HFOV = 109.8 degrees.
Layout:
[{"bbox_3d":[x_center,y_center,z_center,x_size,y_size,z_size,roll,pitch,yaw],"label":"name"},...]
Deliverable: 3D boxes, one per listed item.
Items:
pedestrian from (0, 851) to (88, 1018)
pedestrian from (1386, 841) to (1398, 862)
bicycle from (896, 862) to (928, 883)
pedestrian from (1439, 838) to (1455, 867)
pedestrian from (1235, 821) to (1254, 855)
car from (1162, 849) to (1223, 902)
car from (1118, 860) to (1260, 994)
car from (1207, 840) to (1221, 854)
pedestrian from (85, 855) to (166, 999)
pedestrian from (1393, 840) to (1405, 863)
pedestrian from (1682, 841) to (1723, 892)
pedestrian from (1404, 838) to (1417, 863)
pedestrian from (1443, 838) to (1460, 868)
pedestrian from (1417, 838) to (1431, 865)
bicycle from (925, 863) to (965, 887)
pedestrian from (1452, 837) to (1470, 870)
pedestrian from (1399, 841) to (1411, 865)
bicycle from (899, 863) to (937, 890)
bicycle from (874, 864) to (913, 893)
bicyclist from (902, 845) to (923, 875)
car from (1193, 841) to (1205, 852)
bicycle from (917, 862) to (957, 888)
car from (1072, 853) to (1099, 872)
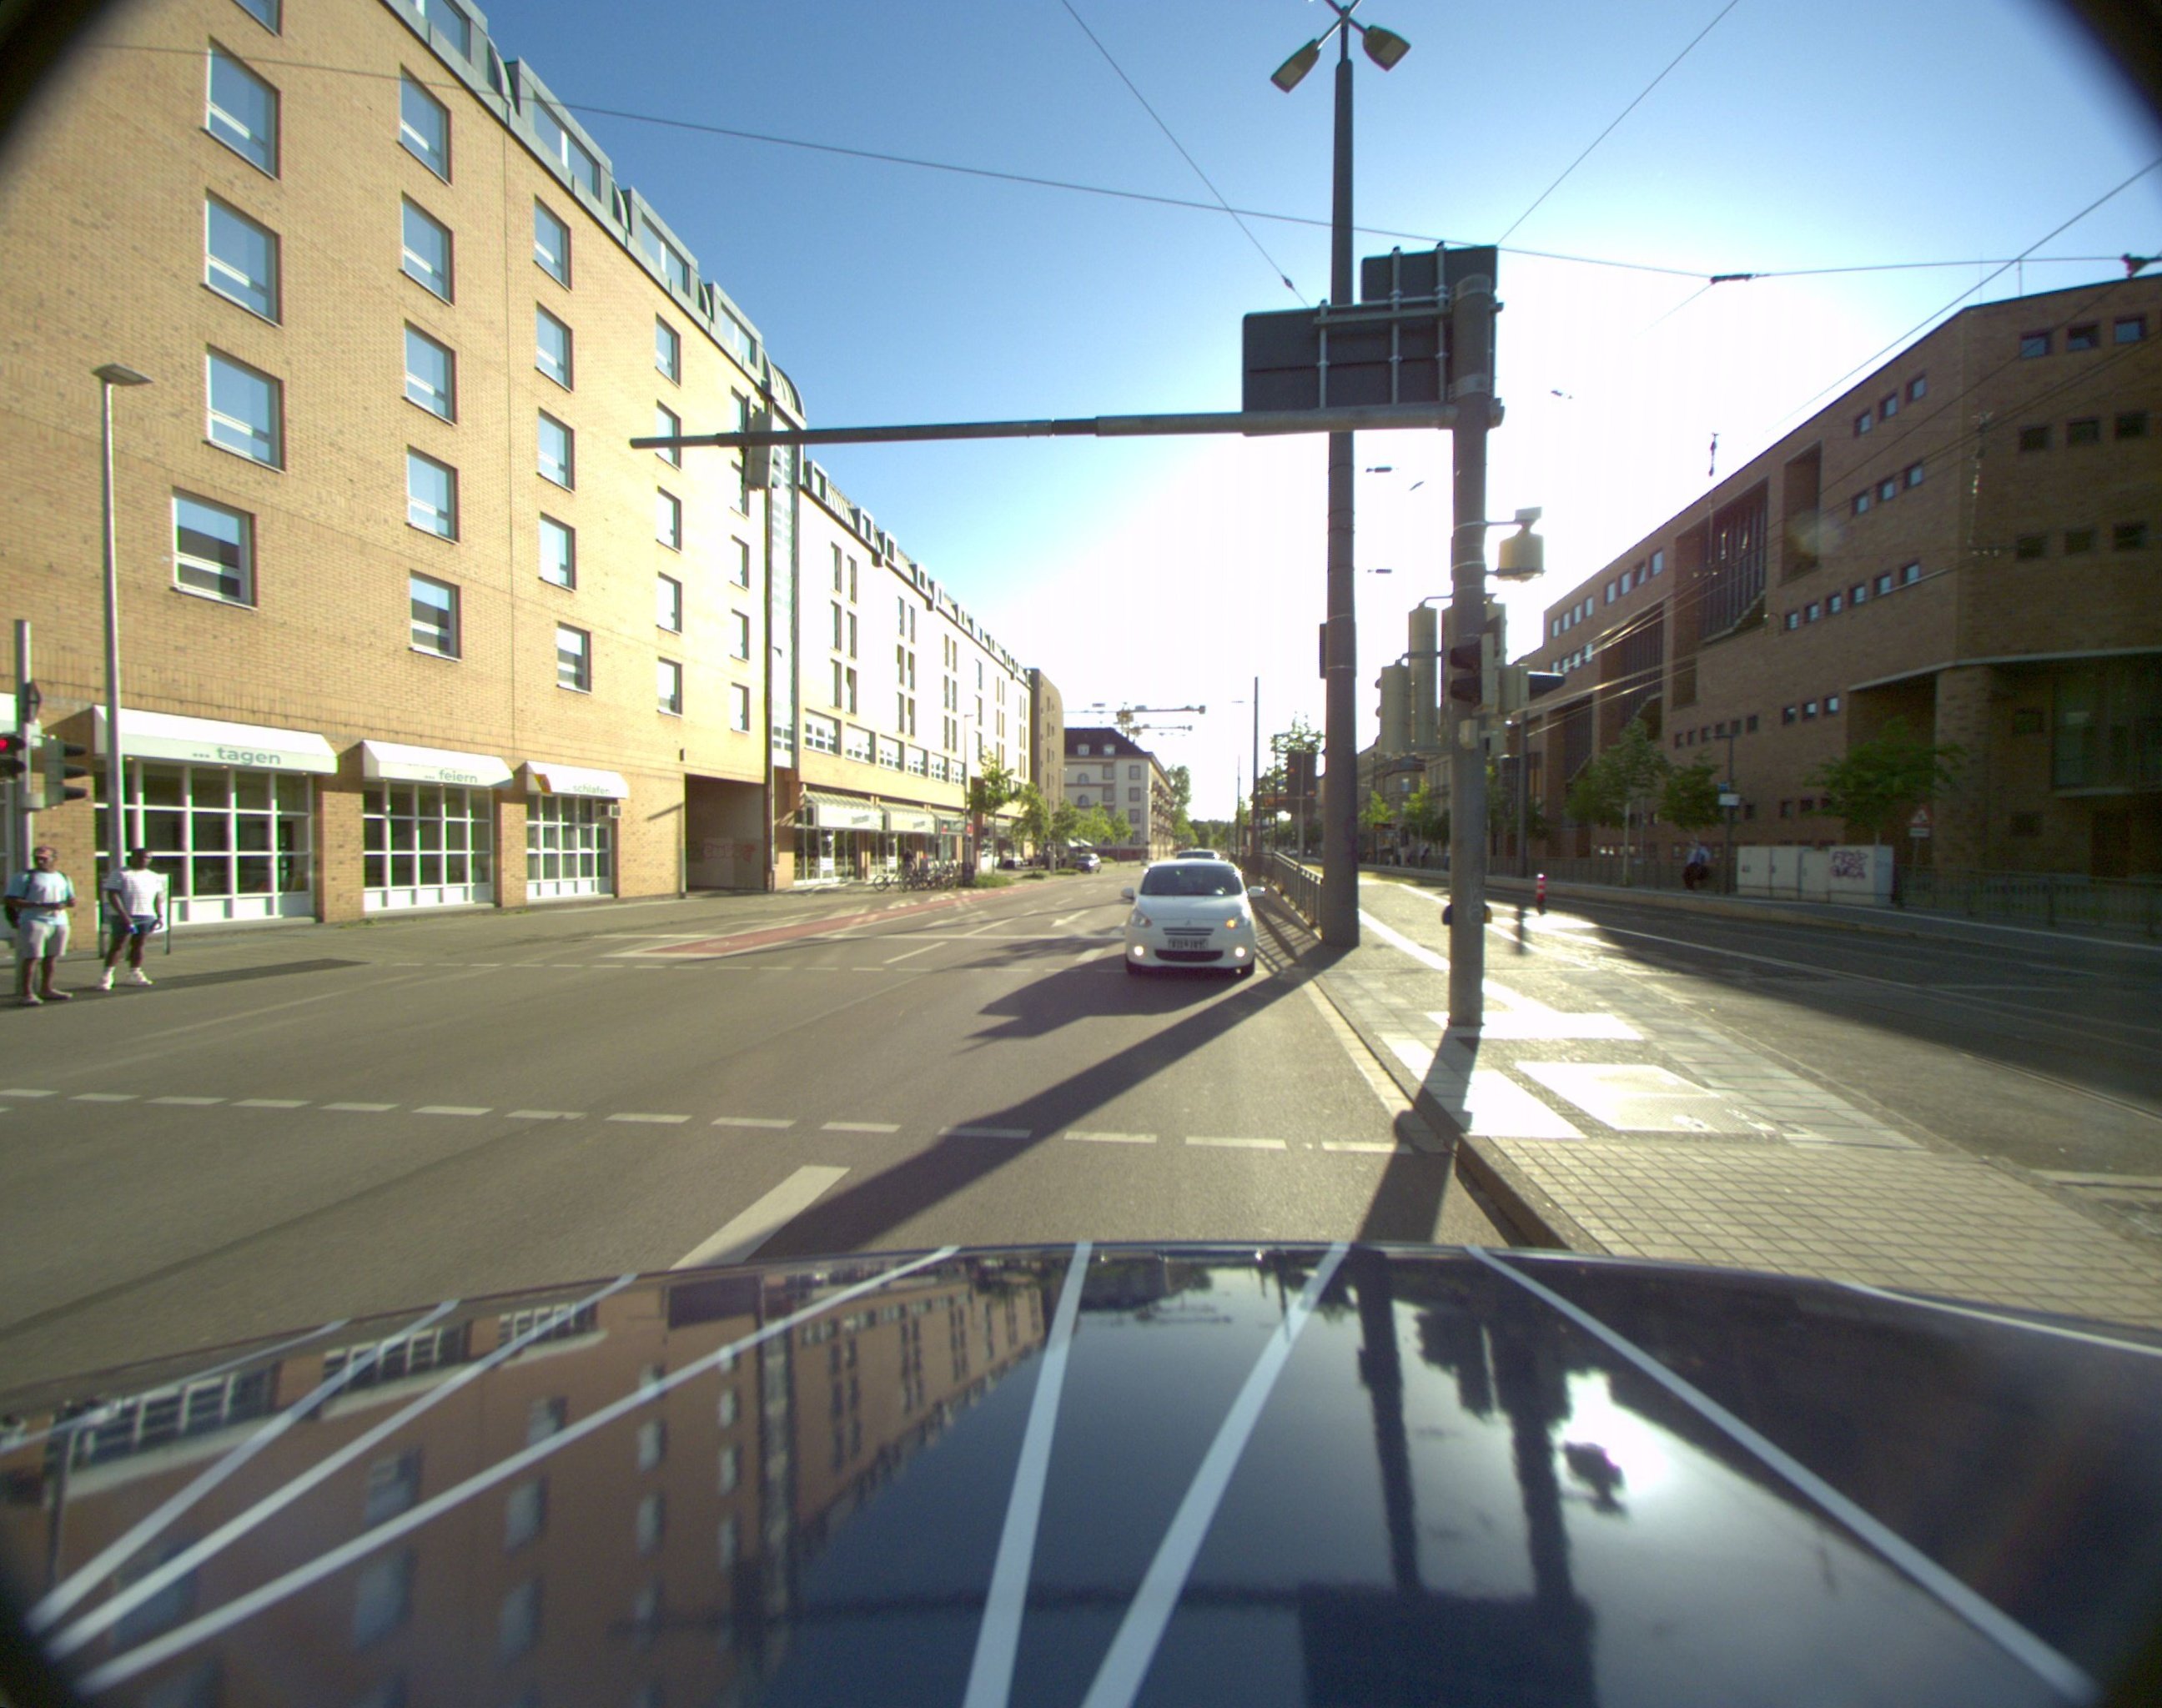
[{"bbox_3d":[-12.043,0.888,8.700,0.499,1.823,0.731,0,2,-25],"label":"pedestrian"},{"bbox_3d":[24.081,-0.188,58.851,0.692,1.566,0.587,0,1,7],"label":"pedestrian"},{"bbox_3d":[-8.878,0.968,40.034,0.601,1.044,1.885,5,2,23],"label":"bicycle"},{"bbox_3d":[21.768,-0.077,45.157,0.692,1.732,0.587,0,1,7],"label":"pedestrian"},{"bbox_3d":[9.805,-0.955,45.609,0.880,2.002,0.784,0,1,-10],"label":"pedestrian"},{"bbox_3d":[4.059,0.706,27.314,1.953,1.652,4.358,-1,1,10],"label":"car"},{"bbox_3d":[1.635,0.897,11.141,1.639,1.458,4.188,-1,1,10],"label":"car"},{"bbox_3d":[18.953,-1.048,108.356,1.997,1.958,4.003,0,1,10],"label":"car"},{"bbox_3d":[-12.169,0.899,9.682,0.404,1.764,0.580,3,2,33],"label":"pedestrian"},{"bbox_3d":[23.497,-0.172,56.134,0.692,1.732,0.587,0,1,7],"label":"pedestrian"},{"bbox_3d":[18.719,0.365,22.892,0.701,1.526,0.654,0,1,7],"label":"pedestrian"},{"bbox_3d":[23.134,-0.227,53.420,0.692,1.732,0.587,0,1,7],"label":"pedestrian"},{"bbox_3d":[21.713,-0.051,44.521,0.692,1.732,0.587,0,1,7],"label":"pedestrian"},{"bbox_3d":[22.839,-0.172,50.651,0.692,1.732,0.587,0,1,7],"label":"pedestrian"},{"bbox_3d":[-6.590,0.998,36.817,1.773,1.066,0.737,1,3,12],"label":"bicycle"},{"bbox_3d":[20.249,-0.012,40.484,0.692,1.732,0.587,0,1,7],"label":"pedestrian"},{"bbox_3d":[23.345,-0.074,54.750,0.692,1.732,0.587,0,1,7],"label":"pedestrian"},{"bbox_3d":[-7.406,1.012,34.422,1.770,1.142,0.554,2,3,31],"label":"bicycle"},{"bbox_3d":[-8.175,1.055,33.159,1.770,1.142,0.554,2,3,31],"label":"bicycle"},{"bbox_3d":[-8.859,0.333,39.908,0.579,1.506,0.851,4,1,24],"label":"bicyclist"},{"bbox_3d":[18.057,-1.087,116.234,1.828,1.644,3.685,0,1,9],"label":"car"},{"bbox_3d":[-6.746,0.994,35.594,1.773,1.135,0.553,1,3,12],"label":"bicycle"},{"bbox_3d":[0.396,0.695,65.358,1.654,1.521,3.695,-1,1,10],"label":"car"}]
